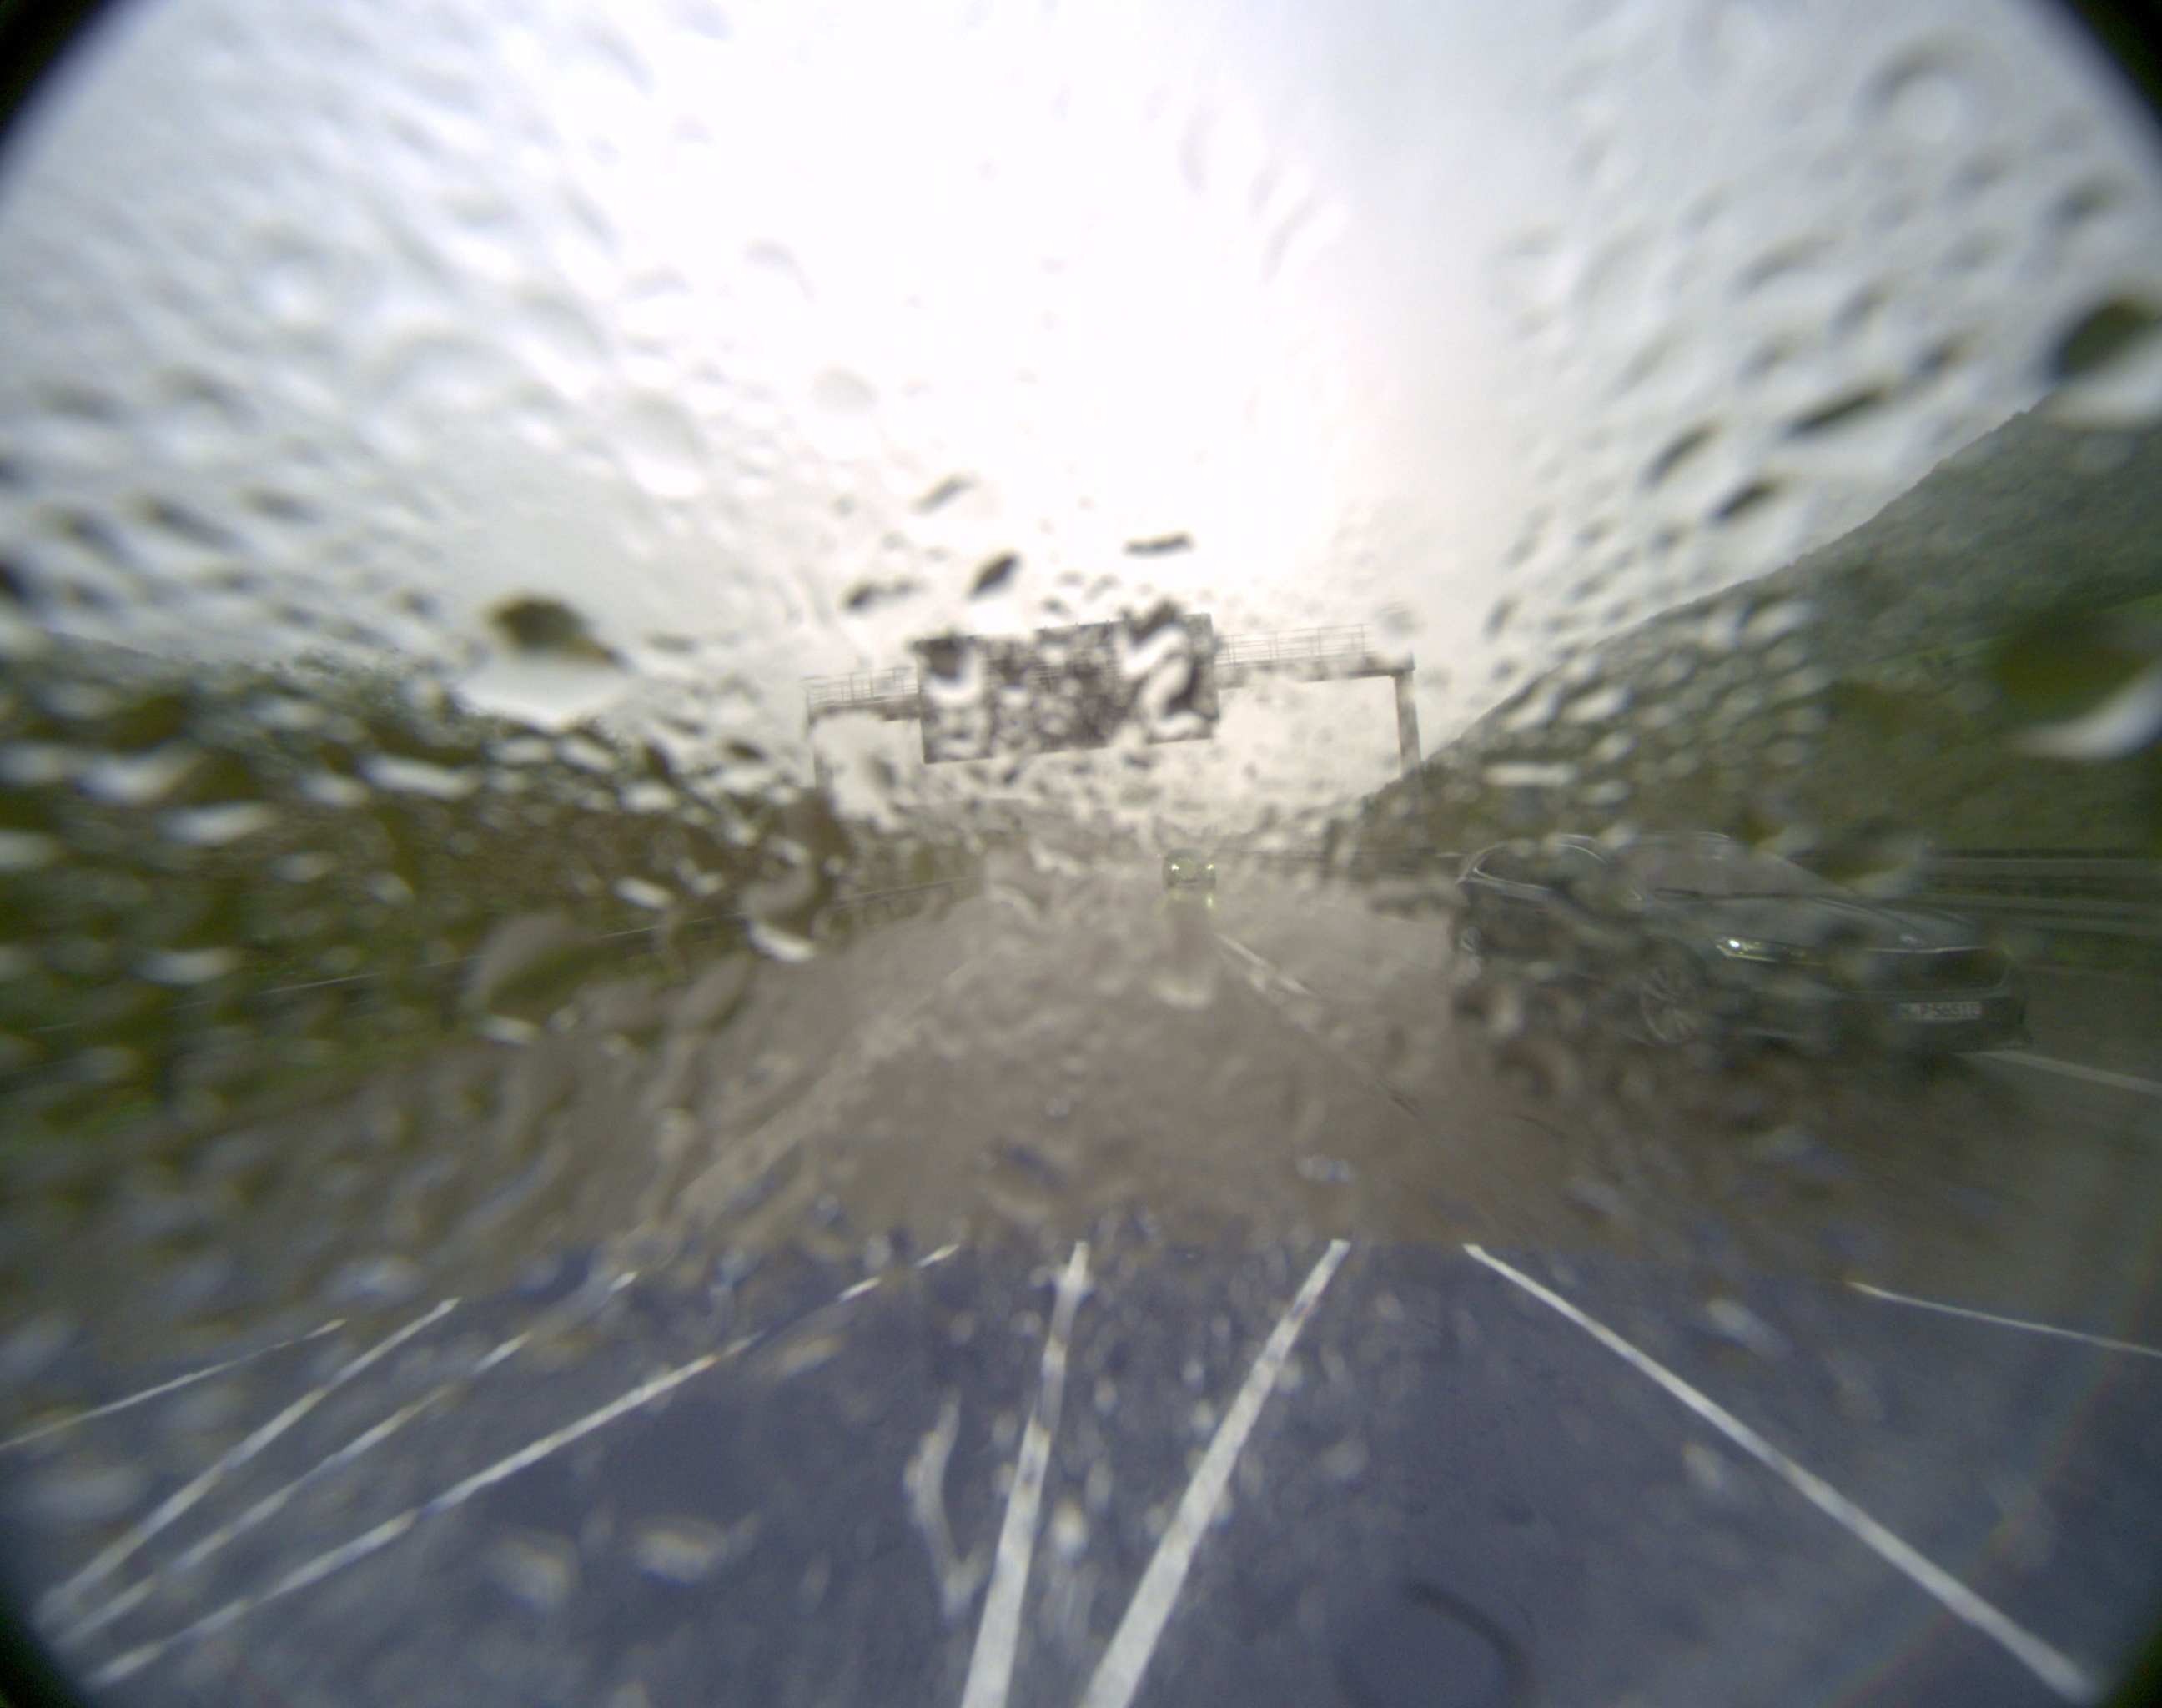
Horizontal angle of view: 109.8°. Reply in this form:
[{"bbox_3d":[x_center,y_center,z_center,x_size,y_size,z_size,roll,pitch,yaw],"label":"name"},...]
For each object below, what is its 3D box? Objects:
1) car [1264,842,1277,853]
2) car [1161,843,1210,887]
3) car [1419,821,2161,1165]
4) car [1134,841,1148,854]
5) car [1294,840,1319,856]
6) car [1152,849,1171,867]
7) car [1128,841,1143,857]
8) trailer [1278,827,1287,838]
[{"bbox_3d":[29.799,-1.031,119.786,1.710,1.638,4.002,-2,1,10],"label":"car"},{"bbox_3d":[4.458,0.418,32.829,1.814,1.692,3.749,-3,1,5],"label":"car"},{"bbox_3d":[4.915,0.648,6.197,1.999,1.673,4.907,-1,1,-2],"label":"car"},{"bbox_3d":[9.539,-1.016,121.794,1.998,2.001,4.001,-2,0,2],"label":"car"},{"bbox_3d":[25.099,-0.670,84.760,1.780,1.682,4.001,-2,0,4],"label":"car"},{"bbox_3d":[9.921,0.499,93.381,1.987,2.002,3.934,-2,0,2],"label":"car"},{"bbox_3d":[7.358,-0.694,103.486,1.835,2.002,3.938,-4,1,3],"label":"car"},{"bbox_3d":[69.681,-7.315,262.944,2.817,3.660,13.259,-2,1,15],"label":"trailer"}]
